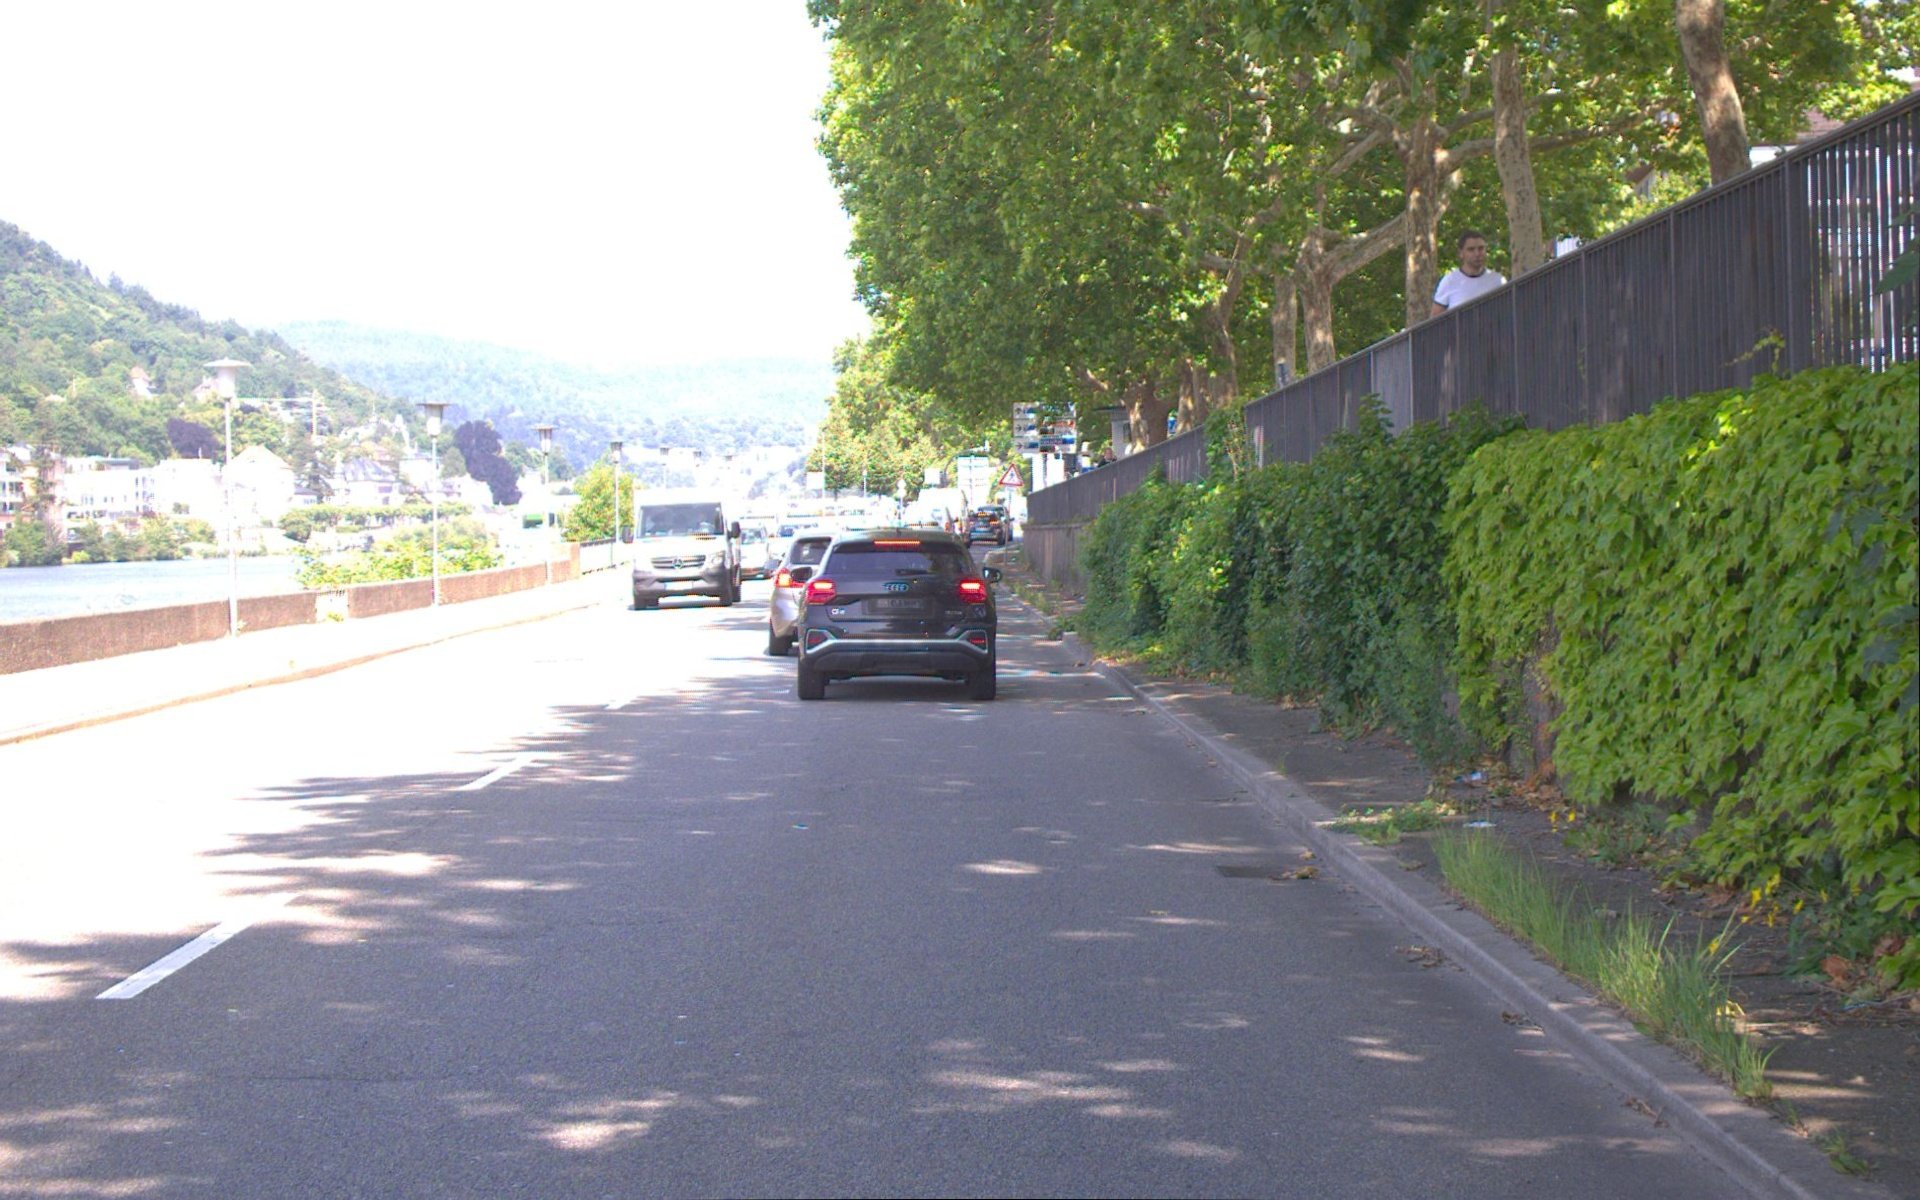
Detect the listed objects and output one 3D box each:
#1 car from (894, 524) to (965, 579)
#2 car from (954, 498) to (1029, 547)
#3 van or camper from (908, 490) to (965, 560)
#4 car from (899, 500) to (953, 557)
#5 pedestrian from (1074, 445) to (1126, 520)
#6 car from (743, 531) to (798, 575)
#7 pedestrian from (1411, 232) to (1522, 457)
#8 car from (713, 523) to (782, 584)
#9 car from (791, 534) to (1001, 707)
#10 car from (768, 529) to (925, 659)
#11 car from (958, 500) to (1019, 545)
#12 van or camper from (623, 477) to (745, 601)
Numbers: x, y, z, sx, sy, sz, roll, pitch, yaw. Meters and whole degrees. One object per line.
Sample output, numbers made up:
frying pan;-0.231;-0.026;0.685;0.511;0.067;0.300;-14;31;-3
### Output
car;-0.842;-1.334;93.393;1.828;1.439;4.000;-1;1;-1
car;1.407;-3.520;156.883;3.098;2.006;5.825;-4;1;-1
van or camper;-0.970;-3.163;144.965;2.310;2.837;4.246;-1;1;1
car;-1.330;-2.785;132.496;1.993;2.162;4.001;0;2;-2
pedestrian;3.054;-2.563;75.098;0.936;1.574;1.028;-4;1;-3
car;-6.558;-1.655;119.110;1.731;1.437;4.046;-2;1;-1
pedestrian;3.676;-1.846;25.011;0.664;1.586;0.651;-2;1;-1
car;-6.062;-1.340;98.499;1.731;1.644;4.178;-2;1;-1
car;-0.604;0.139;31.881;1.828;1.481;4.001;0;1;-1
car;-1.369;-0.112;42.038;1.828;1.506;4.001;0;1;-1
car;1.383;-3.784;167.283;2.661;2.006;5.825;-4;1;-1
van or camper;-5.574;-1.250;70.022;2.077;2.390;5.385;-1;1;-1
